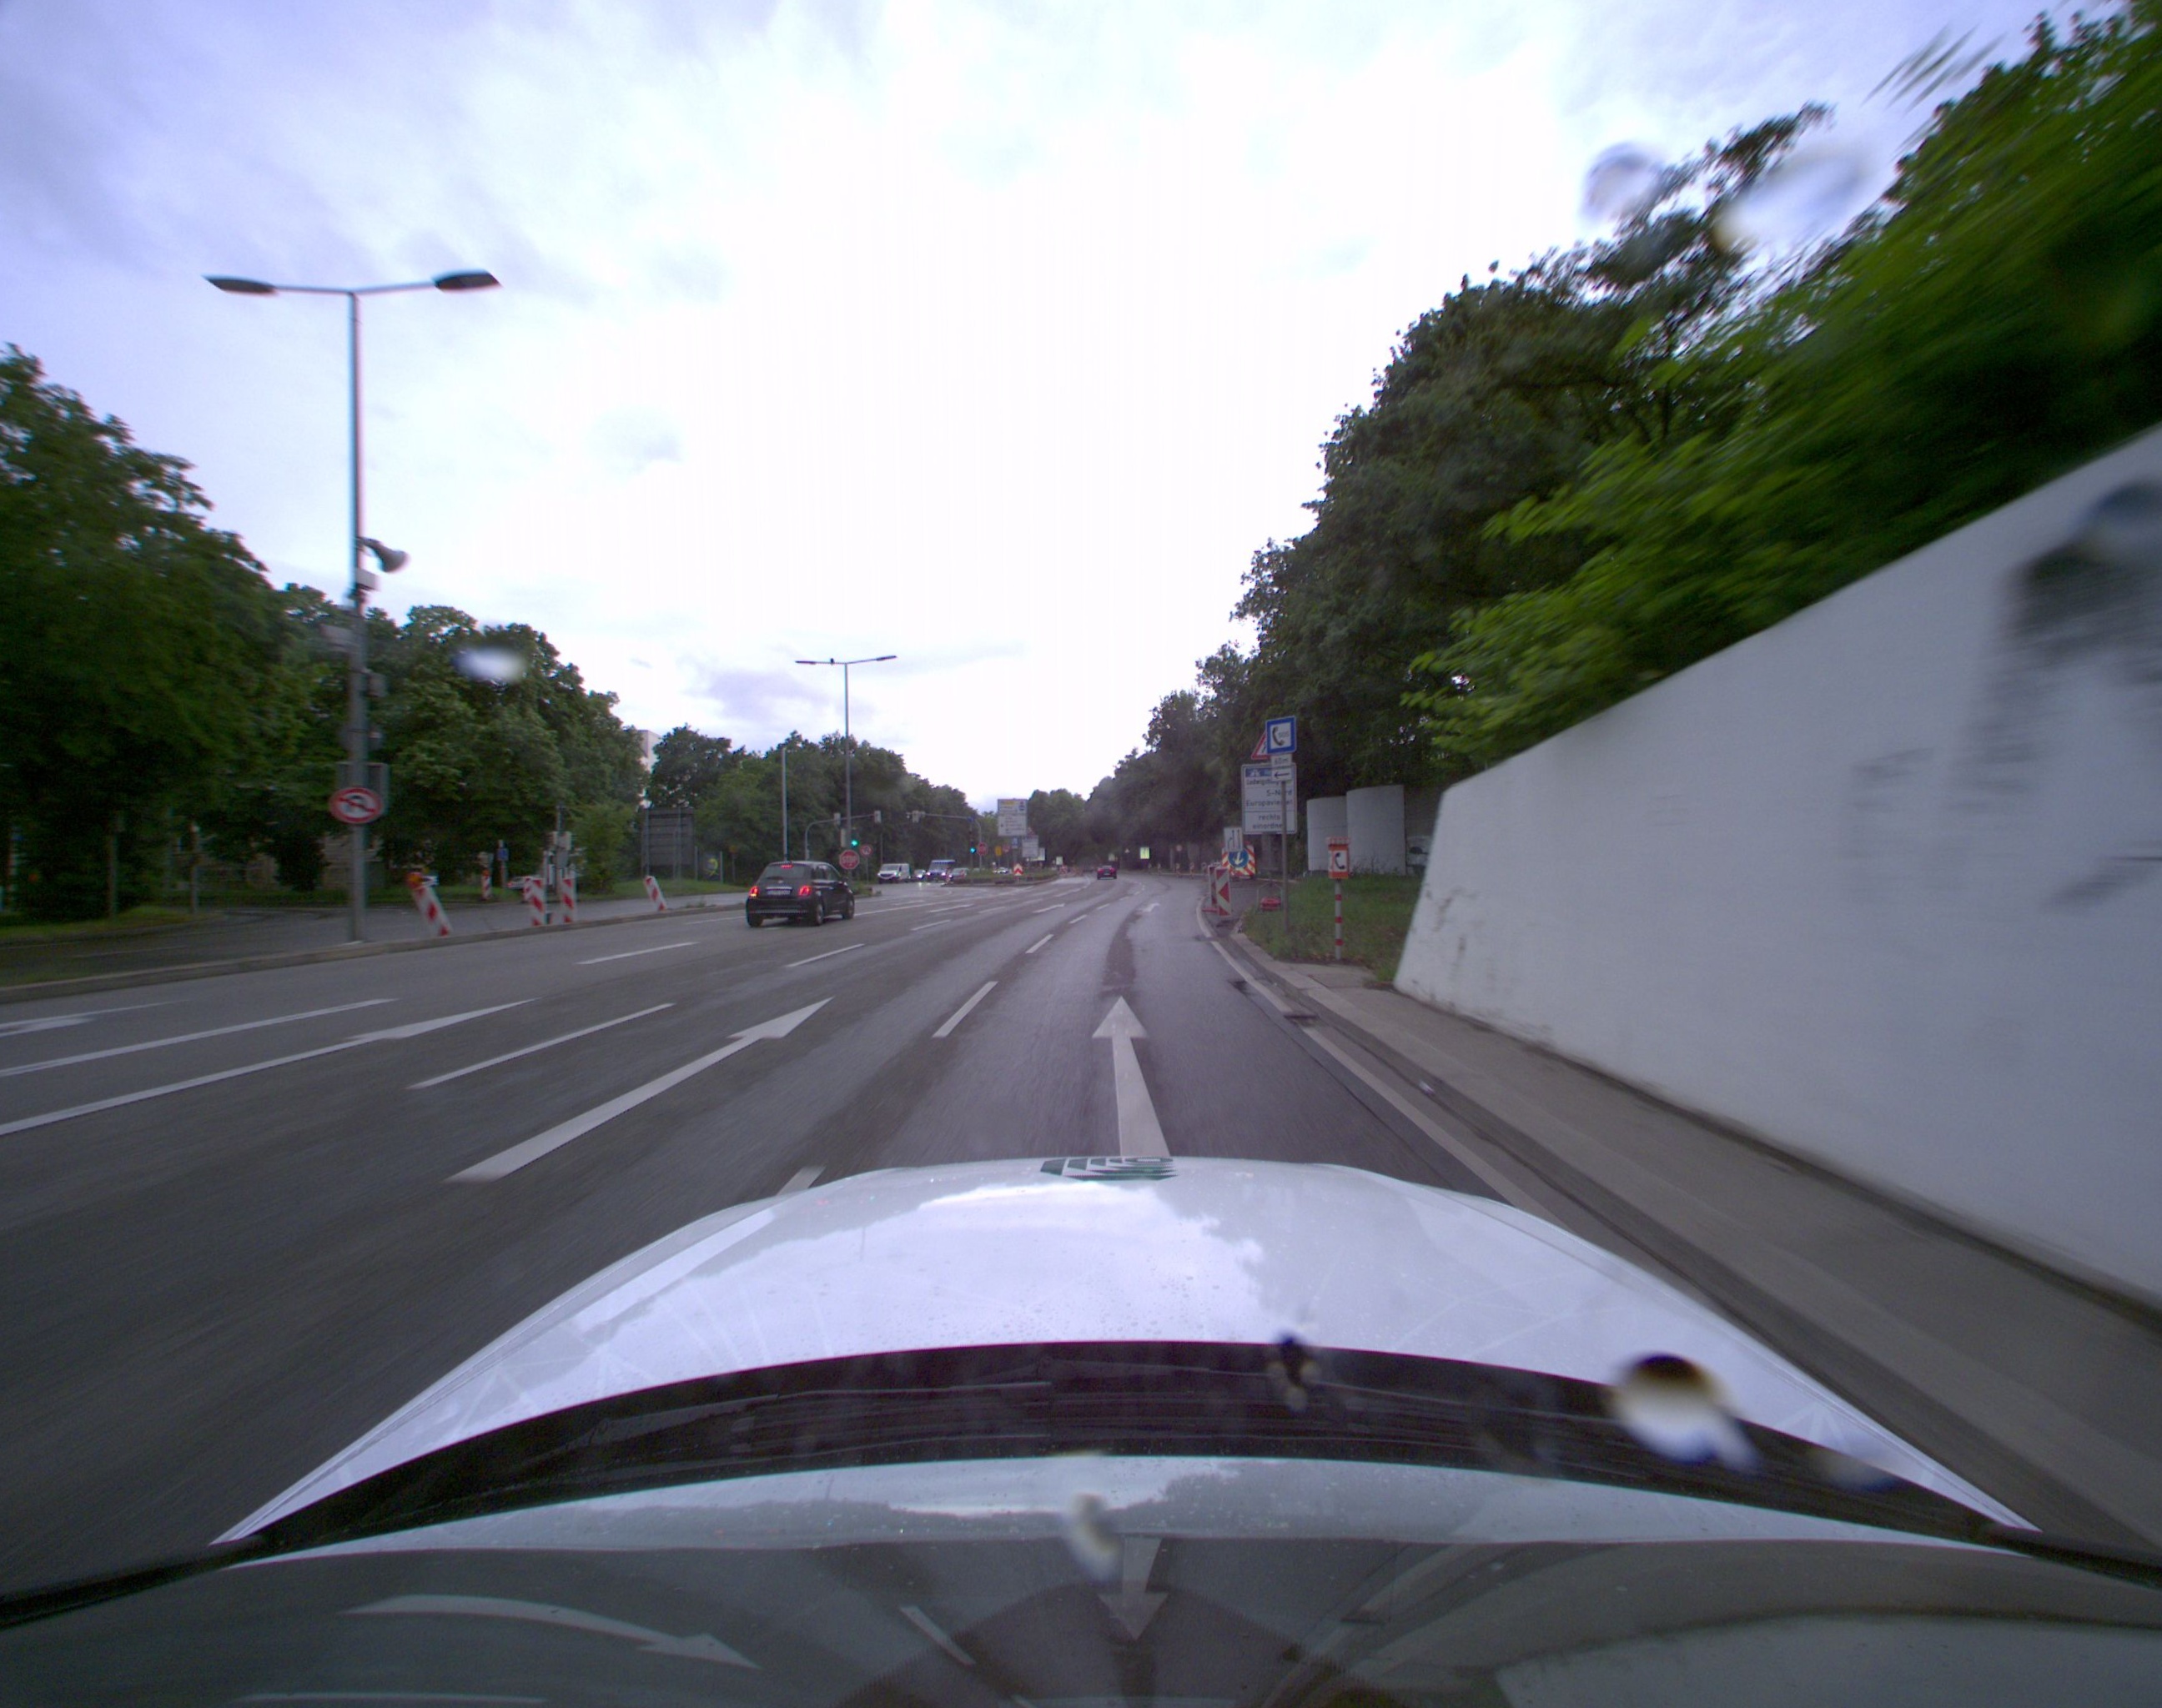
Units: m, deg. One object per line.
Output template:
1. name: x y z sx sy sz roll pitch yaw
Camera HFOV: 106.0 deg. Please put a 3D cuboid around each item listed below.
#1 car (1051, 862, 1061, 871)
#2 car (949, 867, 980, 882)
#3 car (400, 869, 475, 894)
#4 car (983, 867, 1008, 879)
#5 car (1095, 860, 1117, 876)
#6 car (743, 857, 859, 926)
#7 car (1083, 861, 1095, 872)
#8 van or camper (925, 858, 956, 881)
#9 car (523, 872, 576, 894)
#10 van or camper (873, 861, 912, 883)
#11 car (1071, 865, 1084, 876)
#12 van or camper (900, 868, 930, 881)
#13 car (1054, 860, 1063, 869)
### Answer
1. car: -5.570 2.698 180.114 1.989 2.014 3.995 -1 -1 -3
2. car: -11.150 1.950 78.418 2.000 1.301 4.320 -1 -1 4
3. car: -48.490 2.030 61.421 3.978 1.684 1.896 -1 1 -3
4. car: -9.471 2.098 90.356 2.000 1.301 4.320 -1 -1 4
5. car: 2.418 1.317 77.871 1.985 1.448 4.317 -1 -1 3
6. car: -6.591 0.831 19.557 1.608 1.454 3.571 1 0 -1
7. car: 1.447 2.403 153.152 1.989 2.014 3.995 -1 -1 -3
8. van or camper: -14.633 1.589 84.941 2.119 2.349 4.432 -1 -1 4
9. car: -44.993 2.424 69.025 1.887 1.684 3.996 -1 1 -3
10. van or camper: -18.177 1.729 78.907 2.119 2.014 5.320 -1 -1 4
11. car: -0.628 2.936 146.786 1.989 2.014 3.995 -1 -1 -3
12. van or camper: -17.786 2.206 87.394 2.000 1.301 4.096 -1 -1 4
13. car: -5.341 2.536 194.517 1.989 2.014 3.995 -1 -1 -3
